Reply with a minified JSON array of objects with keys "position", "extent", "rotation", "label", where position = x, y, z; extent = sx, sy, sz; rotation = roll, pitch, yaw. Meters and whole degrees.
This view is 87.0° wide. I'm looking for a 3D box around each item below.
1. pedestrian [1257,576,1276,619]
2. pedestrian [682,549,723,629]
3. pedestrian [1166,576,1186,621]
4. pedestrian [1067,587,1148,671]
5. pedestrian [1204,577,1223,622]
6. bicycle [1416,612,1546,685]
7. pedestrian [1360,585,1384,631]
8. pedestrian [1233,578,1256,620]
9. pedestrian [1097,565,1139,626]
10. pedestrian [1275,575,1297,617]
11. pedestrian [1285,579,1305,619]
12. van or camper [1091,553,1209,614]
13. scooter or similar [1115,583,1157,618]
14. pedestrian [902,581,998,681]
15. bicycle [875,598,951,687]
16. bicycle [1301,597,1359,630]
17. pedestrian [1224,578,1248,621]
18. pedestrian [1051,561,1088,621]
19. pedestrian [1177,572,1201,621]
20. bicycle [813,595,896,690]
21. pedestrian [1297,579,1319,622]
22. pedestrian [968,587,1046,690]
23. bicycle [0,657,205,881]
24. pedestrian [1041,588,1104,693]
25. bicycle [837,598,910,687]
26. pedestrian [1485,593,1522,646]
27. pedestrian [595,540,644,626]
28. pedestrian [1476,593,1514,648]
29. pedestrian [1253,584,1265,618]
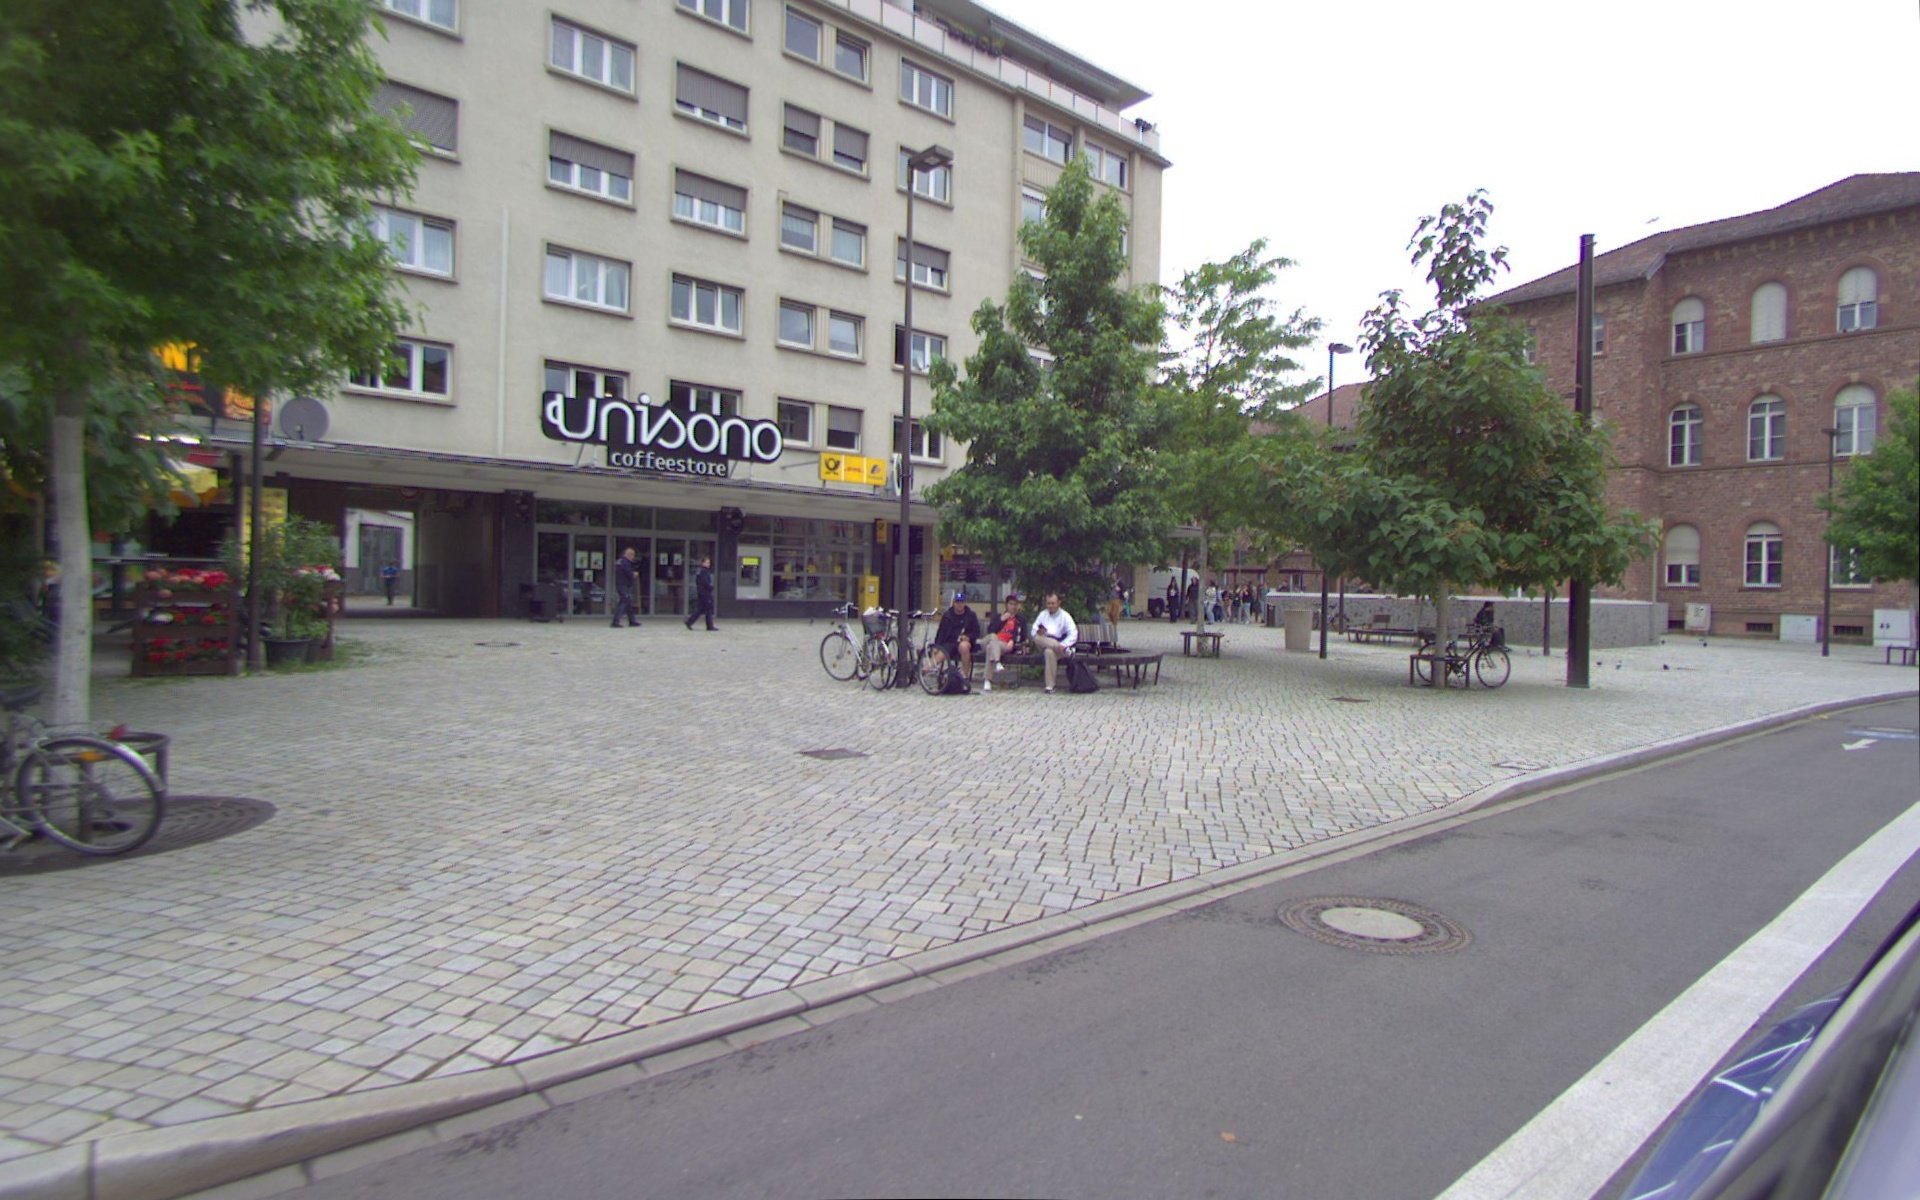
[{"position":[13.830,-0.117,45.607],"extent":[0.525,1.914,0.662],"rotation":[1,-1,-44],"label":"pedestrian"},{"position":[-5.872,-0.255,23.100],"extent":[0.704,1.773,0.776],"rotation":[2,2,-1],"label":"pedestrian"},{"position":[7.889,-0.054,36.916],"extent":[0.584,1.606,0.639],"rotation":[2,0,18],"label":"pedestrian"},{"position":[2.546,0.486,17.408],"extent":[1.385,1.383,0.629],"rotation":[1,-1,-41],"label":"pedestrian"},{"position":[9.275,-0.024,37.082],"extent":[0.584,1.606,0.639],"rotation":[2,0,18],"label":"pedestrian"},{"position":[8.705,0.775,16.987],"extent":[0.632,1.137,1.922],"rotation":[1,-1,-29],"label":"bicycle"},{"position":[15.461,0.281,38.017],"extent":[0.579,1.692,0.515],"rotation":[2,0,-16],"label":"pedestrian"},{"position":[11.664,-0.034,41.453],"extent":[0.579,1.692,0.645],"rotation":[2,0,-19],"label":"pedestrian"},{"position":[4.756,-0.129,30.490],"extent":[0.769,1.794,1.052],"rotation":[3,1,39],"label":"pedestrian"},{"position":[13.204,-0.163,41.027],"extent":[0.579,1.692,0.515],"rotation":[2,0,-18],"label":"pedestrian"},{"position":[14.948,-0.046,45.154],"extent":[0.661,1.780,0.622],"rotation":[0,-1,41],"label":"pedestrian"},{"position":[9.257,-0.721,48.898],"extent":[6.443,2.754,1.997],"rotation":[1,-1,-40],"label":"van or camper"},{"position":[6.558,0.017,37.723],"extent":[1.406,1.219,0.503],"rotation":[1,2,-16],"label":"scooter or similar"},{"position":[-0.143,0.438,14.490],"extent":[1.253,1.383,0.545],"rotation":[1,-1,-22],"label":"pedestrian"},{"position":[-0.687,0.559,14.164],"extent":[0.467,1.124,1.609],"rotation":[1,1,-25],"label":"bicycle"},{"position":[13.621,0.492,37.309],"extent":[0.462,1.077,2.028],"rotation":[1,2,-40],"label":"bicycle"},{"position":[11.120,-0.026,40.794],"extent":[0.579,1.692,0.644],"rotation":[2,0,-24],"label":"pedestrian"},{"position":[3.595,-0.296,33.320],"extent":[0.767,1.925,1.054],"rotation":[3,1,32],"label":"pedestrian"},{"position":[8.482,-0.129,37.494],"extent":[0.630,1.791,0.592],"rotation":[2,0,-4],"label":"pedestrian"},{"position":[-1.450,0.527,13.585],"extent":[0.467,1.124,2.045],"rotation":[1,1,-24],"label":"bicycle"},{"position":[13.989,0.026,40.661],"extent":[0.579,1.692,0.515],"rotation":[2,0,-19],"label":"pedestrian"},{"position":[0.653,0.519,14.058],"extent":[0.900,1.383,0.631],"rotation":[1,-1,-22],"label":"pedestrian"},{"position":[-4.850,0.796,4.955],"extent":[1.718,0.990,0.661],"rotation":[1,0,-11],"label":"bicycle"},{"position":[1.541,0.536,13.800],"extent":[0.625,1.383,0.680],"rotation":[0,-1,32],"label":"pedestrian"},{"position":[-1.237,0.558,14.215],"extent":[0.467,1.124,1.609],"rotation":[1,1,-25],"label":"bicycle"},{"position":[15.687,0.555,29.238],"extent":[0.771,1.473,0.763],"rotation":[3,2,21],"label":"pedestrian"},{"position":[-7.691,-0.372,22.878],"extent":[0.836,1.909,0.776],"rotation":[0,-1,-1],"label":"pedestrian"},{"position":[15.112,0.570,28.584],"extent":[0.771,1.473,0.763],"rotation":[3,2,21],"label":"pedestrian"},{"position":[14.535,0.063,49.213],"extent":[0.525,1.642,0.662],"rotation":[0,-1,11],"label":"pedestrian"}]
